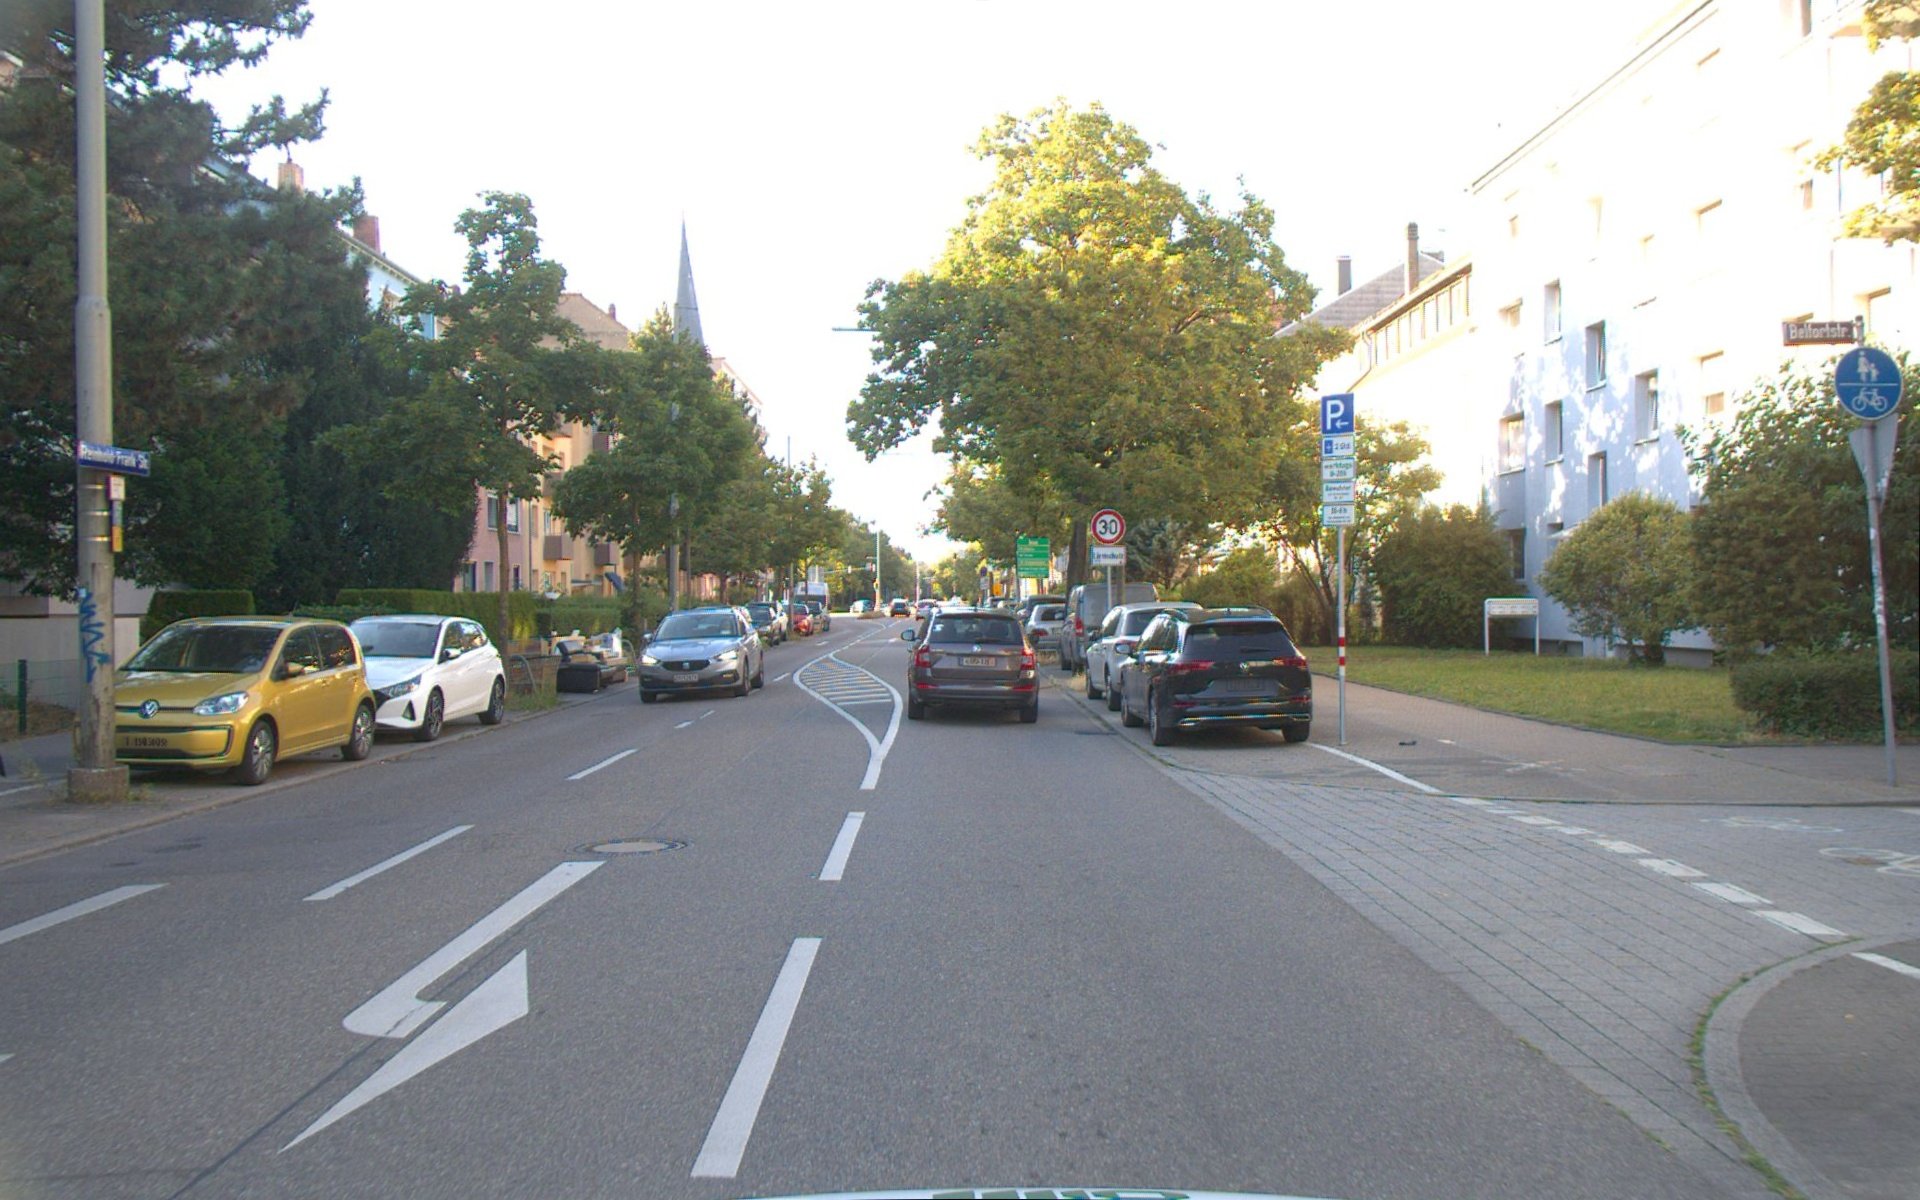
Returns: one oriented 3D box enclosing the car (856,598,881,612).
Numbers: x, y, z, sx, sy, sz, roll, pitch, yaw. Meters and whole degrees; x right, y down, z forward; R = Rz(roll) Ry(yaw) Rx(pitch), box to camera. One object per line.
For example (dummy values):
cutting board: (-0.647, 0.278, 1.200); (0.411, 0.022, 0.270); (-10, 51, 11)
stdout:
car: (-10.730, 0.594, 194.050); (1.624, 1.627, 3.571); (-1, 0, -25)

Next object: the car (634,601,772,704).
car: (-4.337, 0.841, 28.474); (1.704, 1.505, 4.308); (-4, 0, -1)

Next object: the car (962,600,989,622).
car: (1.134, 0.832, 123.944); (1.613, 1.627, 3.645); (-1, 0, -6)

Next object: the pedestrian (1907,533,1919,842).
pedestrian: (6.245, 0.528, 9.682); (0.733, 1.893, 1.067); (-1, 0, -2)

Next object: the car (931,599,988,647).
car: (-0.054, 0.804, 57.483); (1.854, 1.533, 3.788); (3, -1, -1)

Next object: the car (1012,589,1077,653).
car: (2.405, 0.582, 47.880); (1.718, 1.745, 4.000); (1, 0, 1)

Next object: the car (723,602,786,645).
car: (-7.617, 0.860, 61.700); (1.744, 1.506, 3.971); (1, 0, 1)

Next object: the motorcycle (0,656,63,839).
motorcycle: (-7.082, 1.038, 10.758); (0.645, 1.225, 2.332); (-1, 0, 20)

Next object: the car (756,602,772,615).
car: (-25.753, 1.103, 217.467); (1.956, 1.780, 3.992); (-1, 0, -8)

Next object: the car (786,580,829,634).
car: (-8.298, 0.378, 90.426); (1.951, 2.830, 5.502); (1, 0, -1)

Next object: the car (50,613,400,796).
car: (-6.966, 0.914, 16.144); (1.585, 1.506, 3.872); (1, 0, 1)

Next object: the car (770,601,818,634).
car: (-7.800, 0.798, 77.867); (1.744, 1.506, 3.971); (1, 0, 1)

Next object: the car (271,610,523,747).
car: (-7.034, 0.923, 21.095); (1.744, 1.521, 3.971); (1, 0, 1)

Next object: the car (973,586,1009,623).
car: (1.542, 0.220, 84.001); (1.718, 1.837, 4.000); (1, 0, 0)

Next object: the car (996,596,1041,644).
car: (2.355, 0.783, 67.172); (1.718, 1.837, 4.000); (1, 0, 1)

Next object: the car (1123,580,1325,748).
car: (2.950, 0.664, 19.276); (1.718, 1.716, 4.252); (1, 0, 1)

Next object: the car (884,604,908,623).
car: (-6.150, 1.290, 158.722); (1.955, 1.780, 3.995); (-1, 0, -6)

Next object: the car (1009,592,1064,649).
car: (2.547, 0.658, 55.864); (1.718, 1.837, 4.000); (1, 0, 1)

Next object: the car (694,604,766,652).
car: (-7.635, 0.920, 55.260); (1.744, 1.506, 3.971); (1, 0, 1)

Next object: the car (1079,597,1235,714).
car: (2.874, 0.763, 24.926); (1.719, 1.584, 4.102); (1, 0, -2)

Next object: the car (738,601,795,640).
car: (-7.835, 0.810, 67.395); (1.744, 1.506, 3.971); (1, 0, 1)

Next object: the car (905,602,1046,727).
car: (0.228, 0.800, 22.453); (1.718, 1.518, 4.000); (1, 0, 1)

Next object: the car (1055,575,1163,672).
car: (3.080, 0.456, 35.318); (1.877, 1.893, 5.633); (0, 0, 1)

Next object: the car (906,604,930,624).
car: (-3.384, 1.115, 131.753); (1.746, 1.506, 3.968); (1, 0, -4)

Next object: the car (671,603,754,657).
car: (-7.315, 0.858, 49.187); (1.744, 1.506, 4.033); (1, 0, 1)
